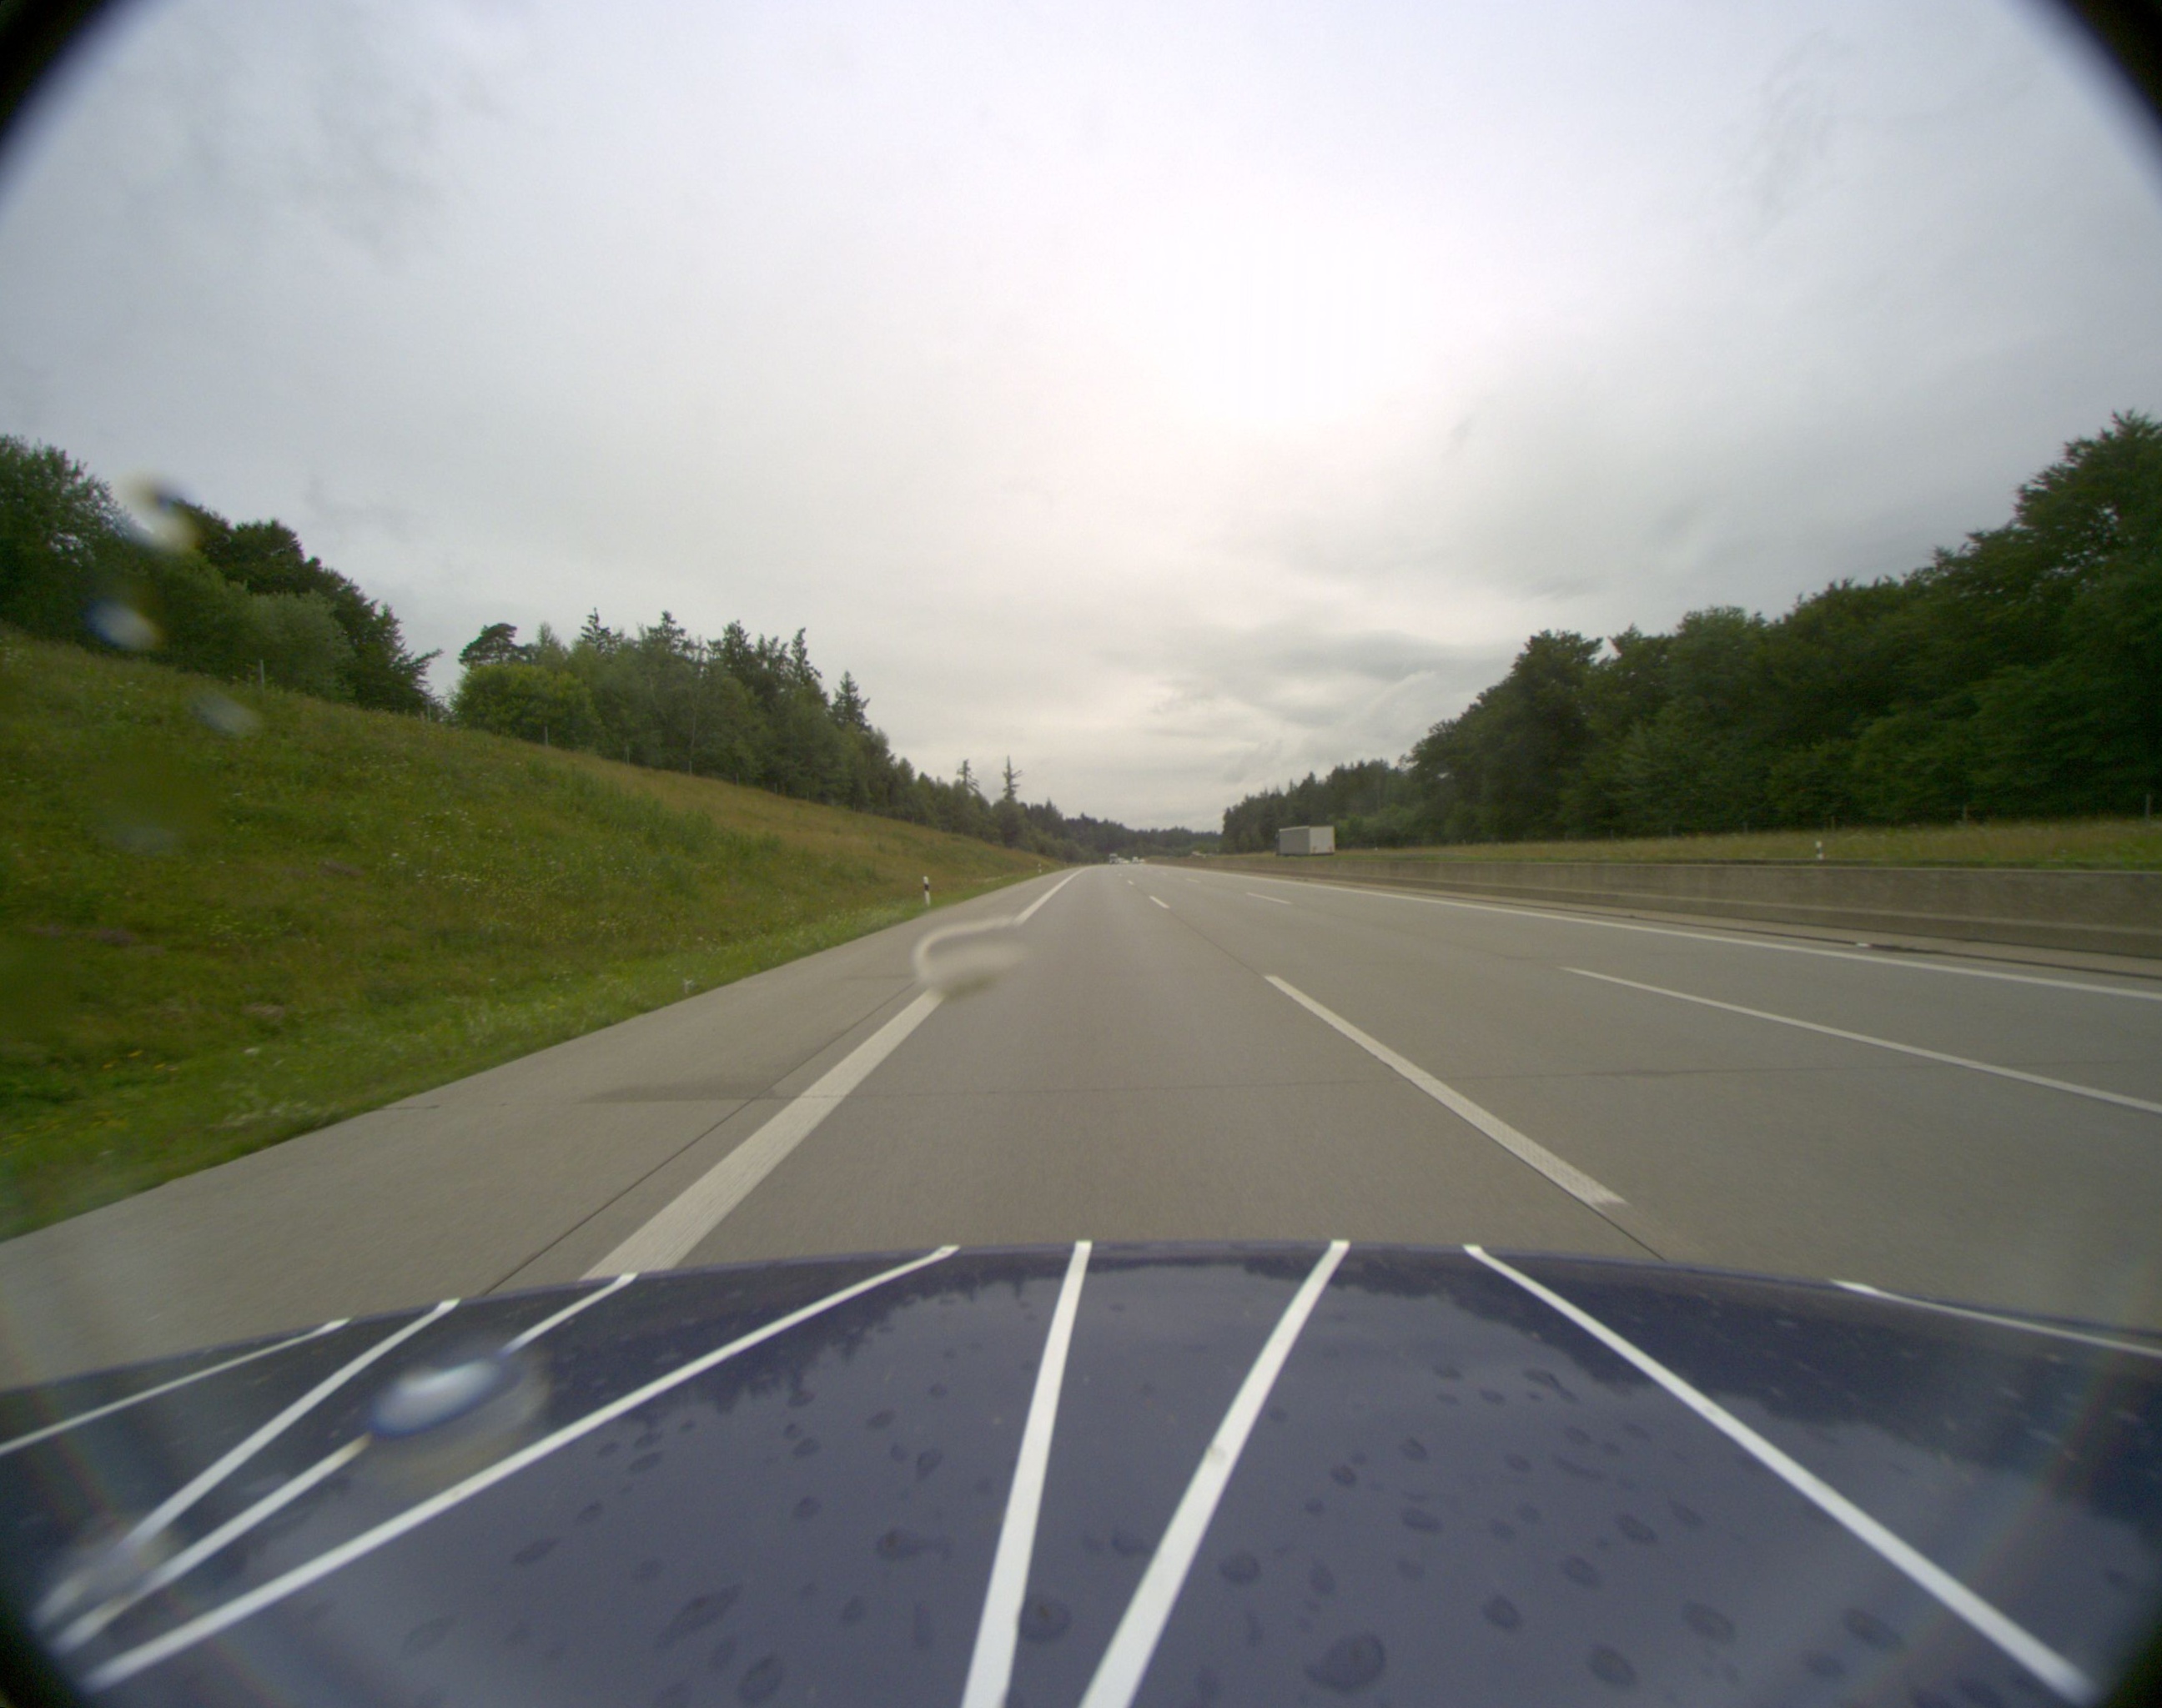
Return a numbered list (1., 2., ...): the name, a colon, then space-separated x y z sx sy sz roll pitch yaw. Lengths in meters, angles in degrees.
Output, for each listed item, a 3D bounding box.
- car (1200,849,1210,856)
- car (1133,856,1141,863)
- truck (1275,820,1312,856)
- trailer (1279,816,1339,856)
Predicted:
1. car: 30.167 -0.300 184.870 1.998 1.619 4.153 -2 0 2
2. car: 17.576 1.754 237.552 2.213 2.001 4.836 -3 -1 2
3. truck: 25.653 -1.872 91.964 2.810 4.004 6.084 -2 0 2
4. trailer: 25.457 -1.871 85.757 2.817 3.996 13.989 -2 0 2
